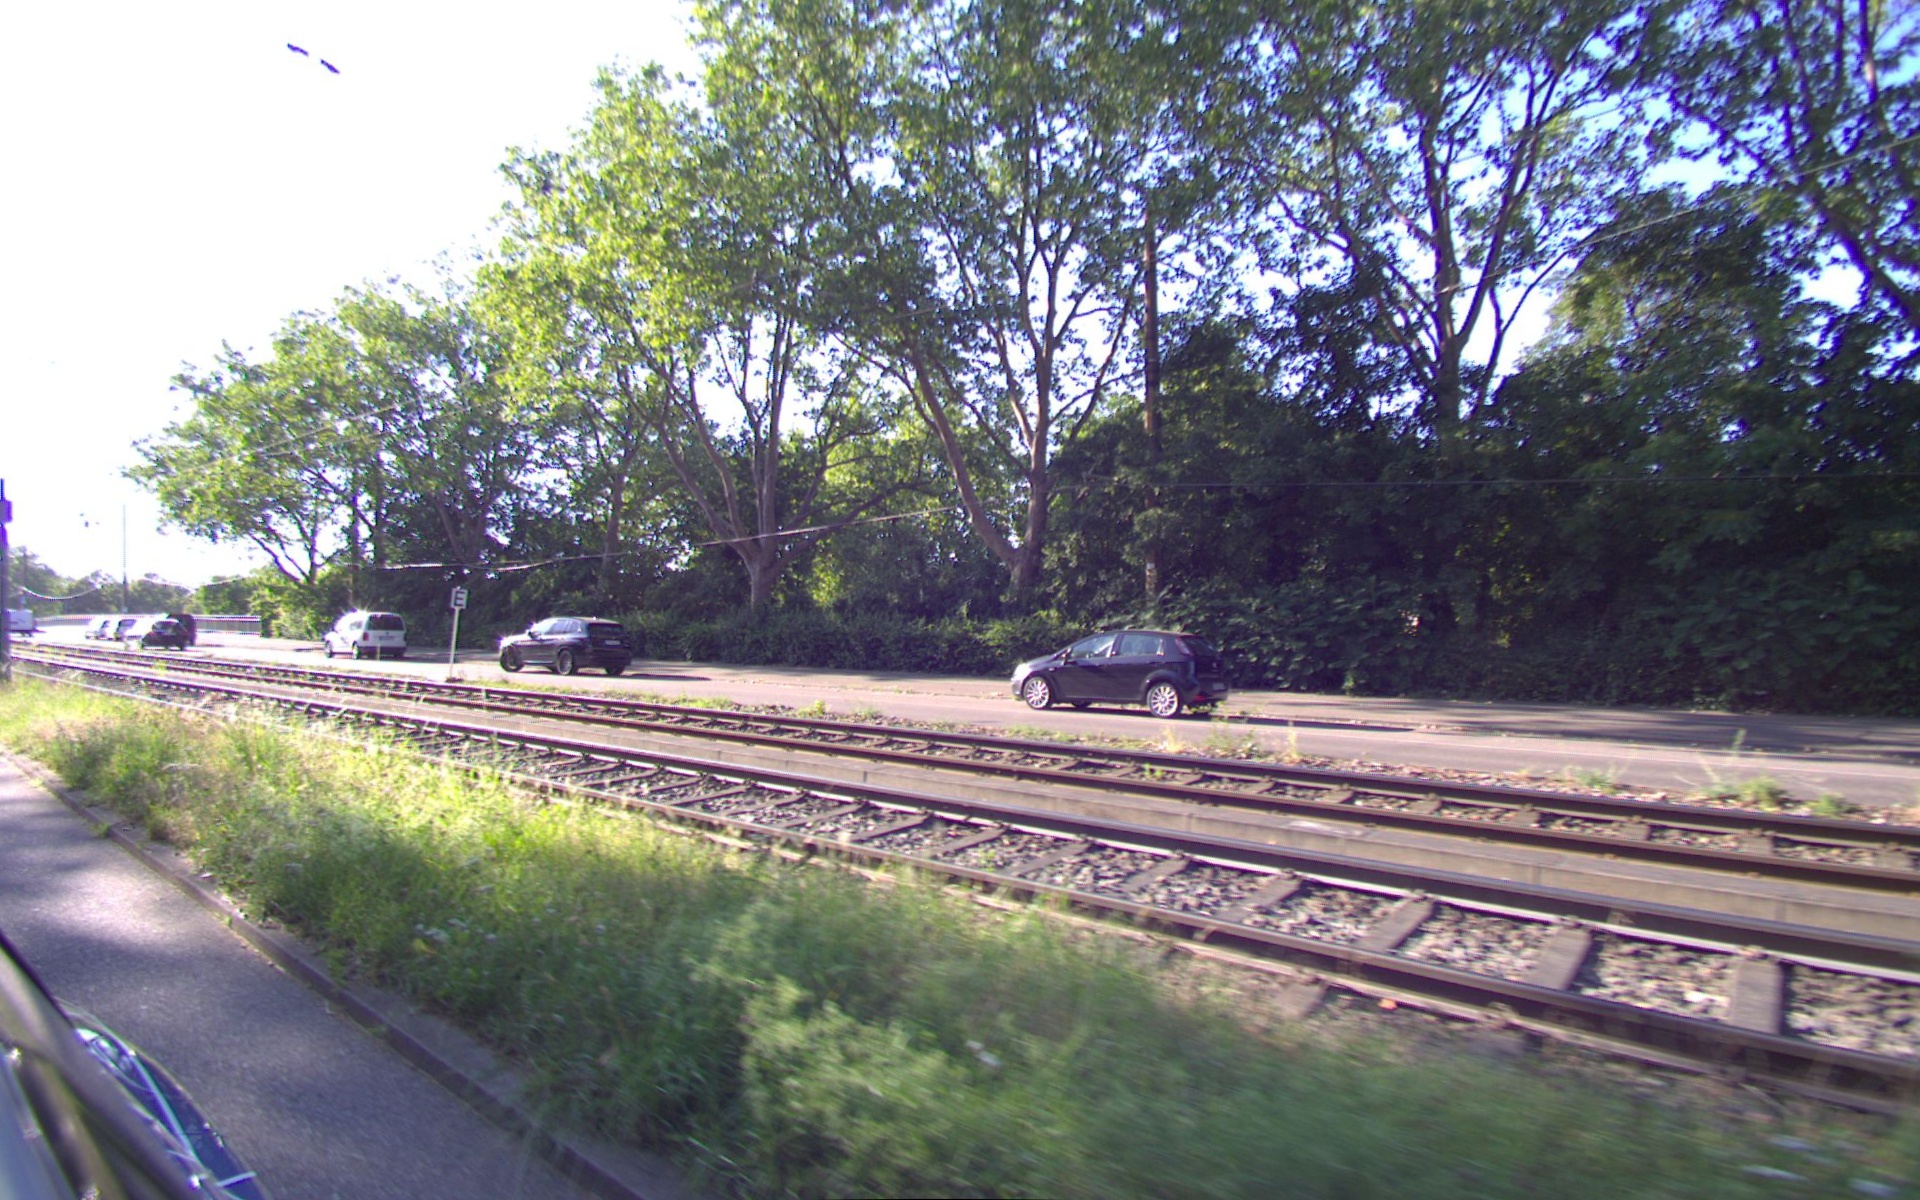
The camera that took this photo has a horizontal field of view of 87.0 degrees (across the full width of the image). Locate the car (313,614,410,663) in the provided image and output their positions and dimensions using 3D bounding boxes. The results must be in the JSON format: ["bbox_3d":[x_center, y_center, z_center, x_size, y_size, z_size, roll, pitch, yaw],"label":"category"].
[{"bbox_3d":[-23.856,1.500,40.304,4.388,1.854,1.809,-1,-3,38],"label":"car"}]

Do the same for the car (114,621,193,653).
[{"bbox_3d":[-38.291,1.739,48.027,4.744,1.426,1.901,-1,-3,39],"label":"car"}]

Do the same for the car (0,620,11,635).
[{"bbox_3d":[-94.664,2.670,99.397,3.922,1.511,1.637,-1,-3,40],"label":"car"}]

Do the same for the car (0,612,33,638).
[{"bbox_3d":[-70.018,1.840,74.569,5.031,1.866,1.808,-1,-3,40],"label":"car"}]

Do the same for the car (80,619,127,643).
[{"bbox_3d":[-58.019,2.096,68.534,3.919,1.511,1.638,-1,-3,38],"label":"car"}]

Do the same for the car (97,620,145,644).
[{"bbox_3d":[-53.995,2.058,65.121,3.781,1.453,1.638,-1,-3,39],"label":"car"}]

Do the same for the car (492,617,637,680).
[{"bbox_3d":[-11.772,1.398,30.022,4.383,1.732,1.812,0,-2,34],"label":"car"}]

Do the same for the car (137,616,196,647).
[{"bbox_3d":[-45.591,1.804,58.129,3.894,1.753,1.713,-1,-3,38],"label":"car"}]

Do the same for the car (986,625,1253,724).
[{"bbox_3d":[2.763,1.241,18.056,4.388,1.517,1.809,-1,-3,38],"label":"car"}]

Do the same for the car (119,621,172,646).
[{"bbox_3d":[-49.694,2.014,61.720,3.780,1.453,1.638,-1,-3,38],"label":"car"}]
